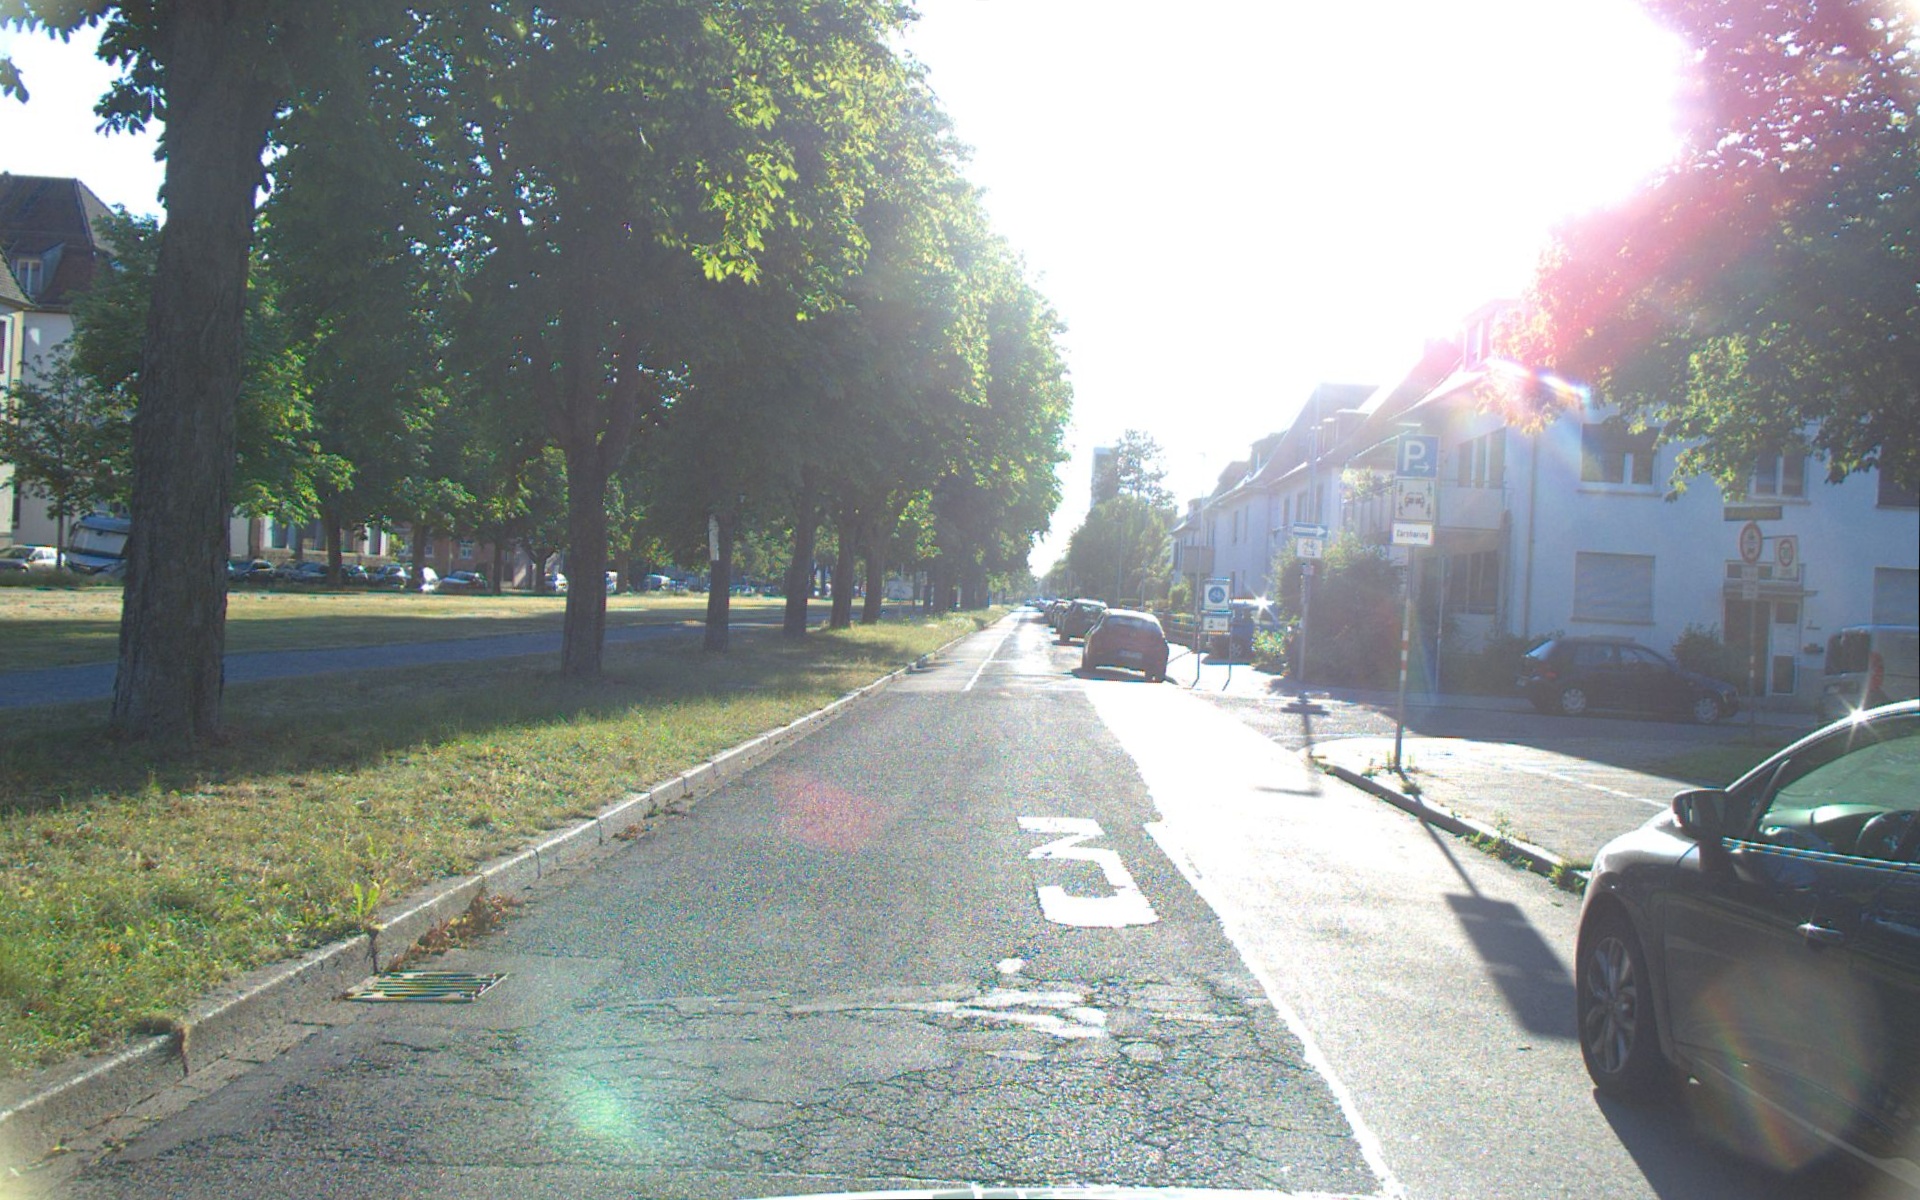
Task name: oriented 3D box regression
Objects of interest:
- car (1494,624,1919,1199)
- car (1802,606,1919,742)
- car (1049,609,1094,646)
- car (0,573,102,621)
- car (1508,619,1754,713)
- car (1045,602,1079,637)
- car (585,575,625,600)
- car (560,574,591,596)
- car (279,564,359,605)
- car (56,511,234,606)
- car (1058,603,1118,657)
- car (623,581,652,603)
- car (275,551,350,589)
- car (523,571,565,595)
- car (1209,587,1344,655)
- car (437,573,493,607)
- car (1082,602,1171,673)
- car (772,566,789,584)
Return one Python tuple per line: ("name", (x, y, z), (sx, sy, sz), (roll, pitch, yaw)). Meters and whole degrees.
("car", (3.017, 0.909, 4.490), (1.690, 1.537, 4.541), (3, 0, 1))
("car", (15.158, 1.180, 24.632), (4.154, 1.907, 2.031), (3, -1, 2))
("car", (5.491, 1.358, 81.931), (1.952, 1.682, 4.000), (4, -1, 1))
("car", (-36.372, -0.097, 65.575), (1.952, 1.687, 4.572), (5, -1, 4))
("car", (12.632, 1.226, 31.310), (3.905, 1.472, 1.716), (4, -1, 2))
("car", (6.609, 1.258, 107.456), (1.953, 2.048, 4.000), (5, -1, 2))
("car", (-27.865, -0.943, 130.062), (1.981, 1.687, 3.985), (5, -1, 3))
("car", (-33.378, -1.326, 143.623), (1.606, 1.671, 3.854), (5, -1, 1))
("car", (-30.587, -0.719, 79.085), (1.841, 1.703, 4.316), (5, -1, 3))
("car", (-31.089, -1.501, 63.531), (2.343, 3.184, 7.855), (6, 0, 3))
("car", (4.902, 1.124, 63.762), (1.953, 1.812, 4.001), (5, 0, 2))
("car", (-29.181, -0.730, 149.581), (1.693, 1.718, 3.878), (5, -2, 1))
("car", (-34.945, -1.608, 89.374), (1.952, 1.687, 4.376), (5, -1, 4))
("car", (-34.153, -1.399, 135.878), (1.952, 1.687, 4.357), (5, -1, 4))
("car", (10.096, 0.682, 52.933), (3.907, 1.854, 1.759), (3, -6, -2))
("car", (-29.703, -0.574, 99.347), (1.774, 1.811, 4.123), (5, -1, 3))
("car", (3.763, 0.845, 37.972), (1.674, 1.383, 4.204), (5, -1, 2))
("car", (-23.443, -3.276, 216.236), (1.620, 1.972, 3.568), (5, -2, 2))
